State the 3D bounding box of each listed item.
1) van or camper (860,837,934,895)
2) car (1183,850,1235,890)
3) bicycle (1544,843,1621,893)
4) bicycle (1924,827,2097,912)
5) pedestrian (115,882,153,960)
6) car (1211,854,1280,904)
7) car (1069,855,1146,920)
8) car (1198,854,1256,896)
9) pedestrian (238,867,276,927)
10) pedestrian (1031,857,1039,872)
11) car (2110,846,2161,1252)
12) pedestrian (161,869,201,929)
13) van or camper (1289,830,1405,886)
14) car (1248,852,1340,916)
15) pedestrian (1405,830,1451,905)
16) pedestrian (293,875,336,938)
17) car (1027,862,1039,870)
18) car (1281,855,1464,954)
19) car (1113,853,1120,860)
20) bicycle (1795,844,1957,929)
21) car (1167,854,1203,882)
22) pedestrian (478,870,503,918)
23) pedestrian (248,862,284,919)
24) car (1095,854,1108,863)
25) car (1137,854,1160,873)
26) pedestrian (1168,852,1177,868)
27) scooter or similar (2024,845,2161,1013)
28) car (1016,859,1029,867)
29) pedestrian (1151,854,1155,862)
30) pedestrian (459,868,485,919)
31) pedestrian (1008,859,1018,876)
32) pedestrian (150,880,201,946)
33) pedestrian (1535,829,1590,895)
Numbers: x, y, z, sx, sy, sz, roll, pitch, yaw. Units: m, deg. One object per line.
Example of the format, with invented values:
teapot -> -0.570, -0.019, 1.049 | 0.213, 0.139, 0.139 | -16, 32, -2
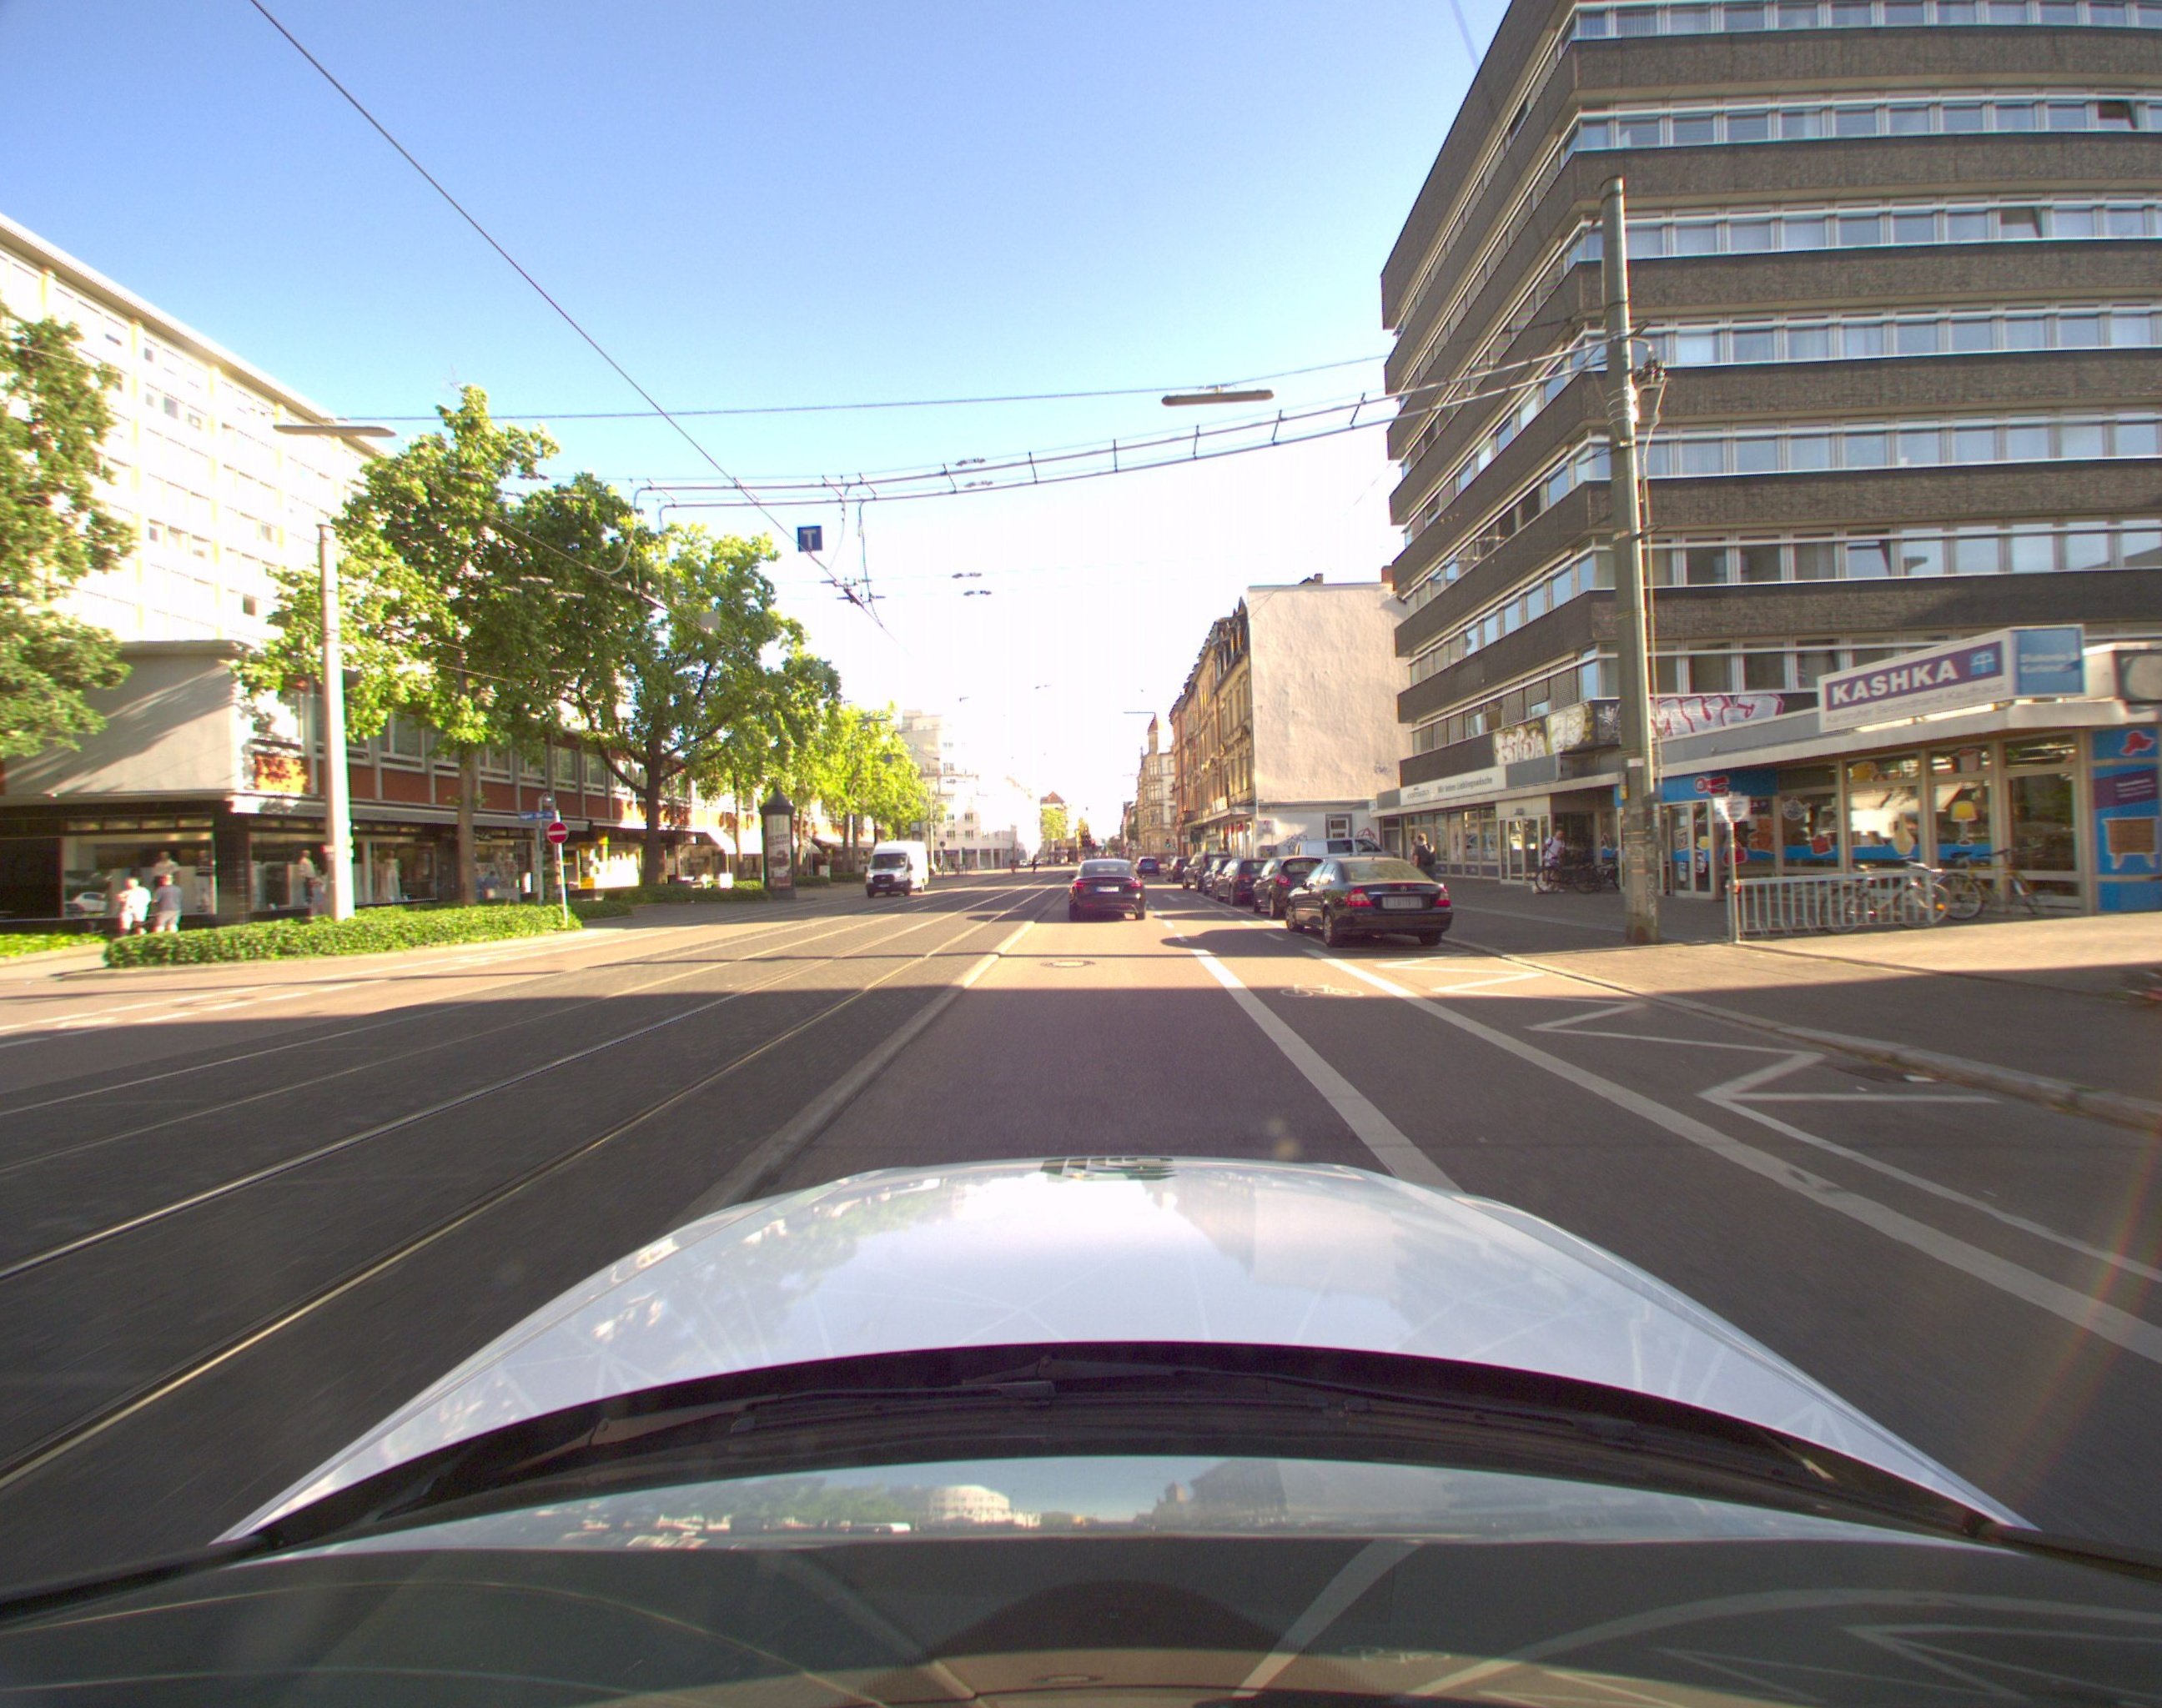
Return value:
van or camper -> -9.249, 0.579, 41.581 | 2.133, 2.654, 6.878 | -3, 0, -1
car -> 5.634, 0.693, 36.248 | 1.822, 1.628, 4.097 | -1, -1, 2
bicycle -> 13.225, 0.358, 21.471 | 2.189, 1.219, 0.797 | -2, 0, -32
bicycle -> 14.257, 0.228, 12.503 | 2.198, 1.124, 0.591 | -4, 0, -8
pedestrian -> -26.058, 1.812, 22.423 | 0.607, 2.066, 0.660 | 0, 0, -44
car -> 5.162, 0.767, 25.947 | 1.456, 1.432, 3.814 | -1, -1, 1
car -> 0.628, 0.760, 20.172 | 1.714, 1.405, 3.710 | -1, 0, 0
car -> 5.525, 0.783, 31.214 | 1.573, 1.444, 3.914 | -1, -1, 1
pedestrian -> -25.296, 1.315, 24.999 | 0.534, 1.784, 0.593 | 0, 0, 1
pedestrian -> -4.715, 1.072, 83.550 | 0.699, 1.501, 0.795 | -1, -1, 2
car -> 4.672, 0.685, 1.122 | 1.597, 1.443, 3.883 | 0, 0, -1
pedestrian -> -27.237, 1.344, 24.657 | 0.589, 1.784, 0.538 | 0, 0, 1
van or camper -> 12.142, 0.202, 37.398 | 4.622, 2.136, 1.990 | -5, -1, 5
car -> 5.286, 0.716, 20.556 | 1.572, 1.447, 3.311 | -1, -1, 3
pedestrian -> 8.736, 0.333, 20.550 | 0.719, 1.812, 0.889 | -2, -1, 1
pedestrian -> -23.084, 1.564, 24.541 | 0.624, 1.847, 0.673 | 0, 0, -2
car -> -10.115, 2.462, 172.409 | 1.986, 1.495, 4.001 | -3, 0, 2
car -> 4.908, 0.761, 14.427 | 1.704, 1.457, 4.551 | -1, 0, 1
car -> 9.652, 0.623, 219.887 | 1.839, 1.592, 4.002 | -3, 0, 2
bicycle -> 11.532, 0.459, 11.847 | 1.673, 1.140, 0.579 | -3, -1, 5
car -> 5.944, 0.792, 46.975 | 1.708, 1.472, 3.722 | -3, 0, 2
pedestrian -> -22.424, 1.518, 30.948 | 0.545, 1.801, 0.587 | 0, 0, -8
pedestrian -> -25.908, 1.159, 25.882 | 0.534, 1.770, 0.593 | 0, 0, 1
car -> 3.437, 0.771, 138.749 | 1.989, 1.525, 3.996 | -1, -1, -3
car -> 5.331, 0.753, 64.879 | 1.587, 1.433, 3.688 | -3, 0, 2
pedestrian -> 9.664, 0.661, 86.152 | 0.746, 1.617, 0.705 | -2, -1, -1
scooter or similar -> 8.552, 0.577, 6.472 | 0.534, 1.234, 1.362 | -7, -1, 10
car -> -10.584, 1.670, 147.270 | 1.986, 1.368, 4.001 | -3, 0, 2
pedestrian -> 11.438, 0.575, 129.329 | 0.439, 1.221, 0.389 | -2, 0, 0
pedestrian -> -23.029, 1.491, 30.804 | 0.590, 1.872, 0.537 | 0, 0, -8
pedestrian -> -6.756, 1.314, 80.725 | 0.839, 1.695, 0.798 | 0, 0, 8
pedestrian -> -24.156, 1.560, 21.733 | 0.517, 1.694, 0.714 | -3, 0, 25
pedestrian -> 13.134, 0.204, 22.244 | 1.143, 1.728, 1.050 | -2, 1, 26
